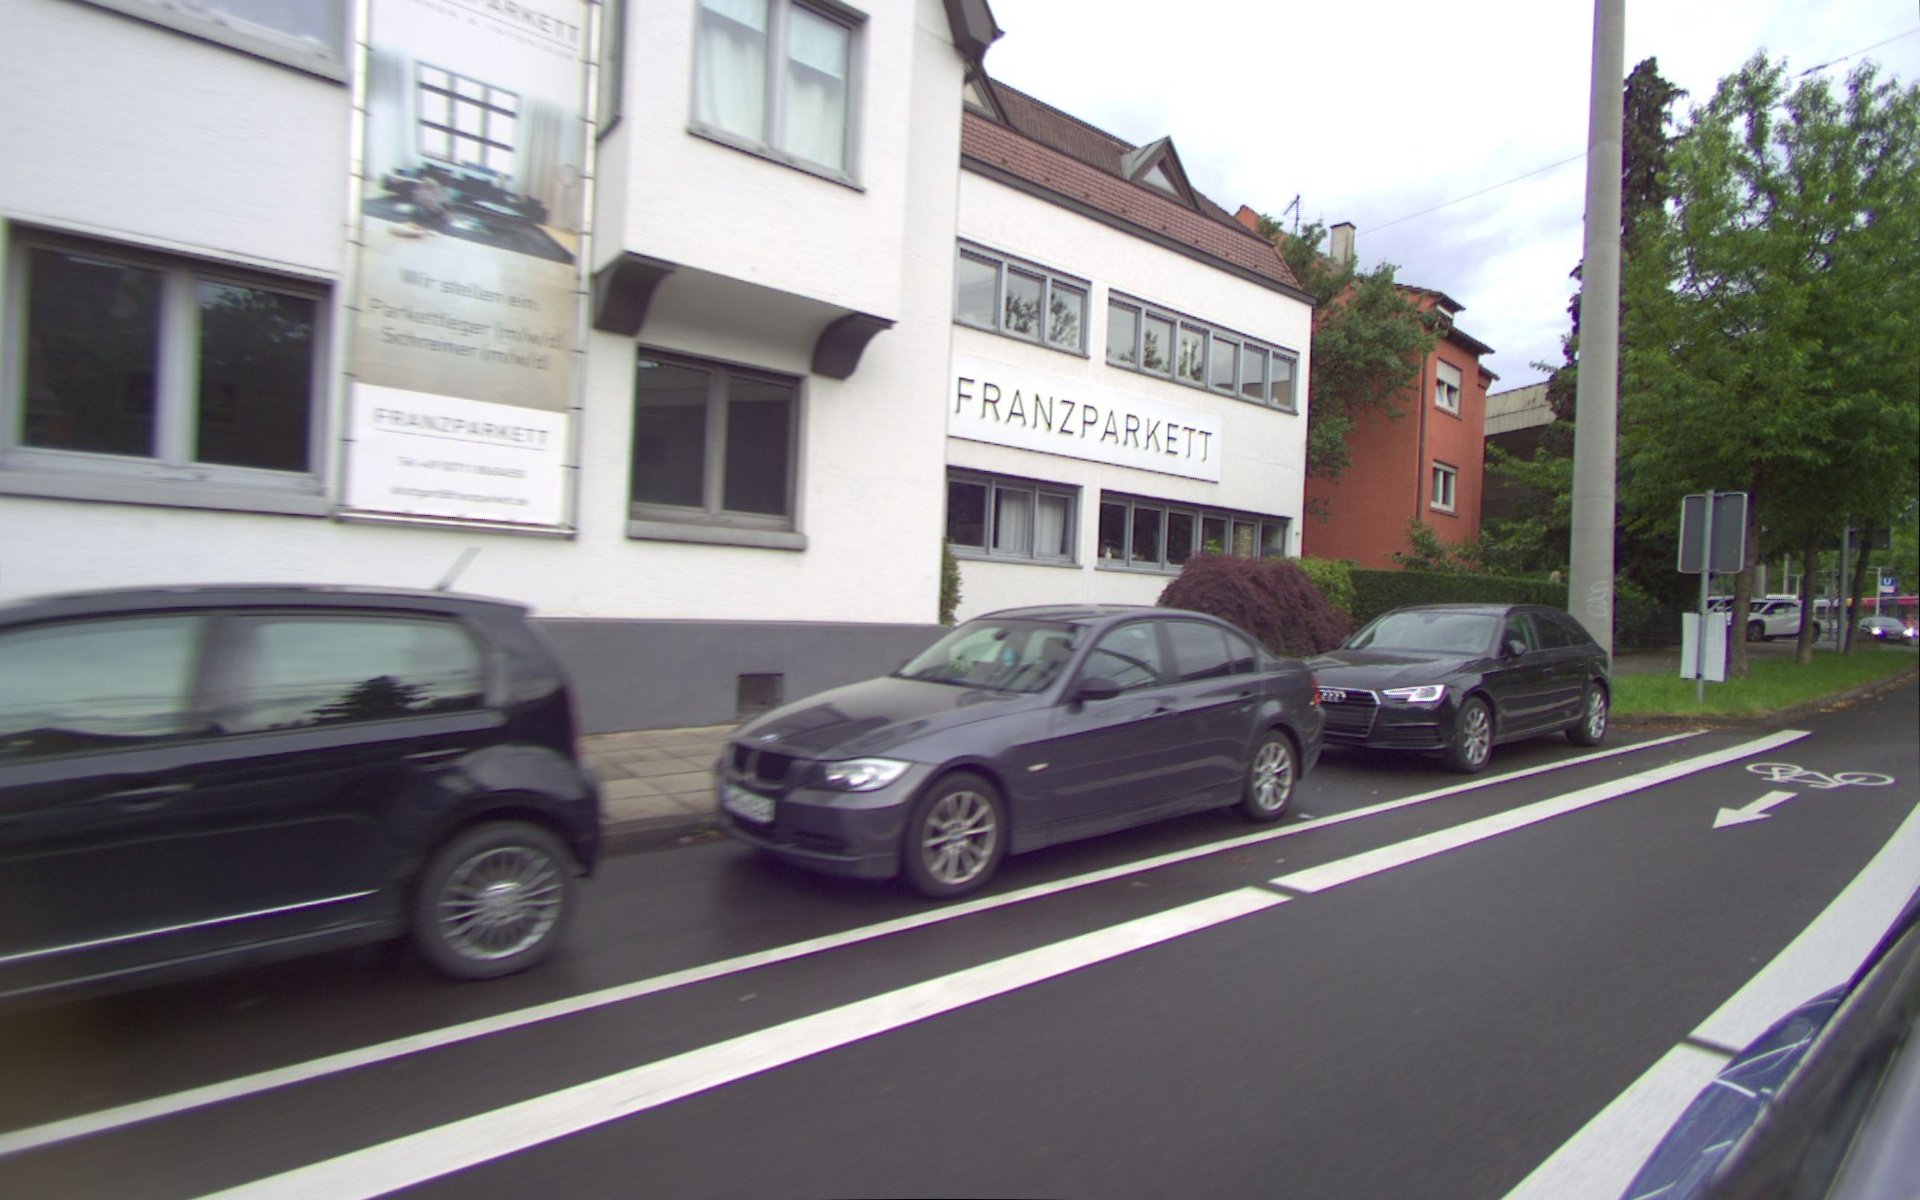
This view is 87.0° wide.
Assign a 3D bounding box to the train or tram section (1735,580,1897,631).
[{"bbox_3d":[74.987,0.425,89.588,2.835,4.021,19.240,0,0,15],"label":"train or tram section"}]

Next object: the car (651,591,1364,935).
[{"bbox_3d":[0.559,0.683,6.366,4.483,1.430,1.716,0,1,-39],"label":"car"}]

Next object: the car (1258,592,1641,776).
[{"bbox_3d":[4.993,0.652,10.036,4.483,1.441,1.681,0,0,-39],"label":"car"}]

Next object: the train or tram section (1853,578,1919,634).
[{"bbox_3d":[69.754,0.404,71.049,2.838,4.011,19.223,0,0,17],"label":"train or tram section"}]

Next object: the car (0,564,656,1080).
[{"bbox_3d":[-3.142,0.613,3.581,3.652,1.469,1.582,-1,2,-38],"label":"car"}]

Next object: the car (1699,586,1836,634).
[{"bbox_3d":[28.427,0.344,35.673,3.658,1.541,1.806,1,0,-11],"label":"car"}]

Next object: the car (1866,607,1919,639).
[{"bbox_3d":[48.483,1.171,52.243,1.767,1.520,3.957,2,1,30],"label":"car"}]

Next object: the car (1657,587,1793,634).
[{"bbox_3d":[28.984,0.390,38.371,3.940,1.651,1.971,1,0,-11],"label":"car"}]
